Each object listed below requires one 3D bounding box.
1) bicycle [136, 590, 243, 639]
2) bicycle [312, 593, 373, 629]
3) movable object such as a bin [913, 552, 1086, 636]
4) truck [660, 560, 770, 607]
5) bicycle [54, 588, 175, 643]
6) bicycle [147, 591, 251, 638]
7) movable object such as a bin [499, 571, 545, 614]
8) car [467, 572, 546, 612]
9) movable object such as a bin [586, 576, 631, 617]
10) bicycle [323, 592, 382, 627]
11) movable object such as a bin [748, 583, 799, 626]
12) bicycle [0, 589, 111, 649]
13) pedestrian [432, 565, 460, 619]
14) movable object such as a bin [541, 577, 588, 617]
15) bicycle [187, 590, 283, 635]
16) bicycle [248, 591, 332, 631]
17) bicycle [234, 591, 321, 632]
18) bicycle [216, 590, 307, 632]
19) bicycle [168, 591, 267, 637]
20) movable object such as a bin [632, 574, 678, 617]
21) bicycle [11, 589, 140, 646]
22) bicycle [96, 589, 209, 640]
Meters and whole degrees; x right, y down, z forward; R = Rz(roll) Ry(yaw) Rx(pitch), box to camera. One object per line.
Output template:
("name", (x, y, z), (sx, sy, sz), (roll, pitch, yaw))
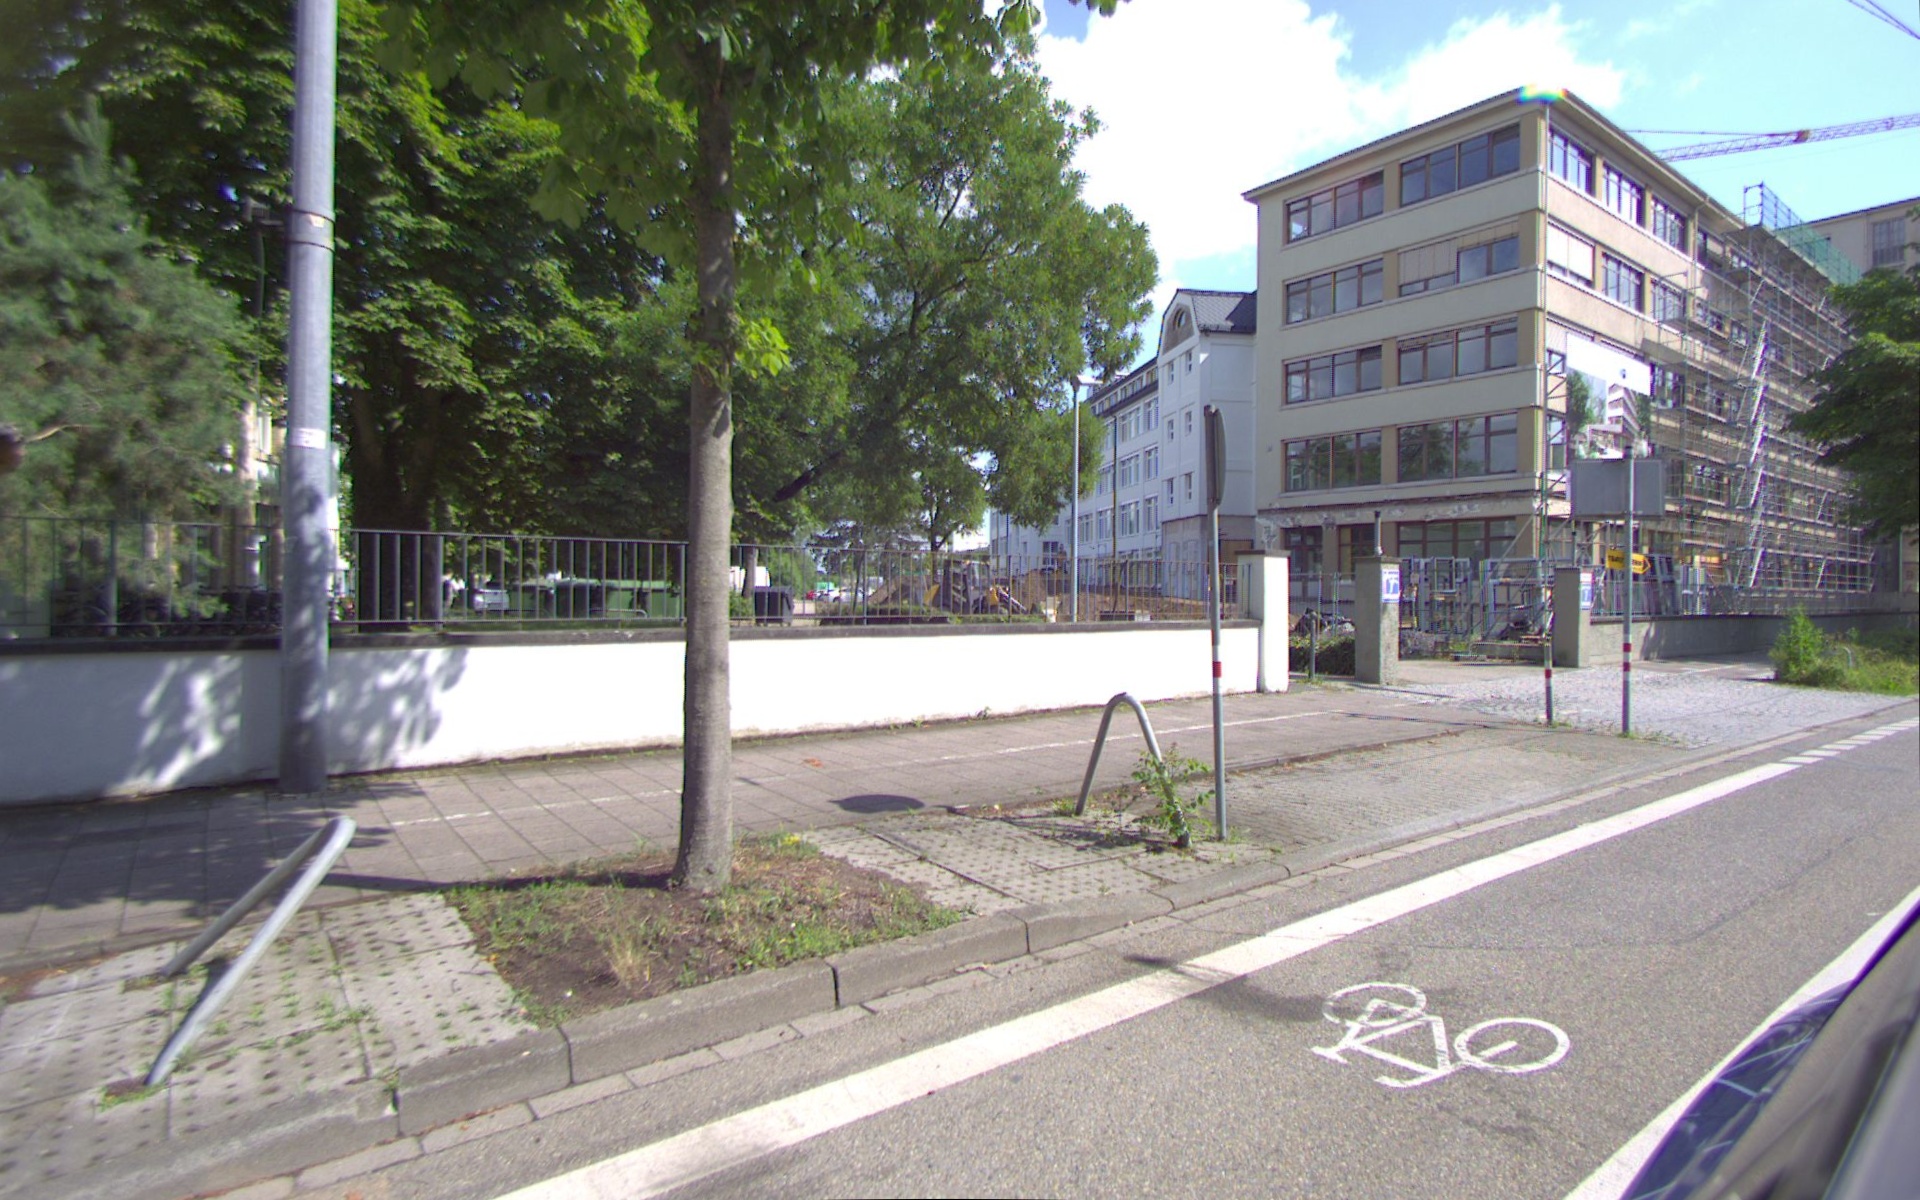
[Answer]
("bicycle", (-16.443, 0.308, 21.619), (1.783, 1.000, 0.428), (1, -1, -11))
("bicycle", (-17.917, 0.321, 29.399), (1.428, 1.000, 0.428), (1, -1, -9))
("movable object such as a bin", (1.232, -0.228, 33.201), (5.397, 2.474, 1.975), (3, 0, 34))
("truck", (-15.346, -0.982, 63.480), (6.421, 2.813, 2.004), (0, 0, -24))
("bicycle", (-16.186, 0.304, 19.398), (1.783, 1.000, 0.428), (1, -1, -11))
("bicycle", (-16.626, 0.320, 22.132), (1.783, 1.000, 0.428), (1, -1, -11))
("movable object such as a bin", (-13.973, -0.241, 32.331), (1.166, 1.309, 1.005), (1, 1, -13))
("car", (-18.003, -0.333, 40.449), (1.772, 1.516, 5.102), (0, 1, -11))
("movable object such as a bin", (-11.349, -0.119, 32.721), (1.230, 1.281, 1.002), (1, 1, -13))
("bicycle", (-17.981, 0.289, 29.972), (1.428, 1.000, 0.428), (1, -1, -11))
("movable object such as a bin", (-6.114, 0.138, 33.234), (1.302, 1.374, 1.127), (1, 1, 9))
("bicycle", (-15.768, 0.325, 17.413), (1.783, 1.000, 0.428), (1, -1, -11))
("pedestrian", (-15.733, -0.242, 30.999), (0.558, 1.644, 0.860), (0, 0, -13))
("movable object such as a bin", (-12.688, -0.095, 32.491), (1.247, 1.235, 1.031), (1, 1, -13))
("bicycle", (-16.894, 0.291, 23.595), (1.783, 1.000, 0.428), (1, -1, -11))
("bicycle", (-17.513, 0.297, 26.465), (1.783, 1.000, 0.428), (1, -1, -11))
("bicycle", (-17.349, 0.289, 25.760), (1.783, 1.000, 0.428), (1, -1, -11))
("bicycle", (-17.102, 0.273, 24.802), (1.783, 1.000, 0.428), (1, -1, -11))
("bicycle", (-16.757, 0.319, 22.869), (1.783, 1.000, 0.428), (1, -1, -11))
("movable object such as a bin", (-9.970, -0.146, 33.122), (1.338, 1.369, 1.096), (1, 1, -13))
("bicycle", (-16.208, 0.320, 18.572), (1.783, 1.000, 0.428), (1, -1, -11))
("bicycle", (-16.353, 0.293, 20.519), (1.783, 1.000, 0.428), (1, -1, -11))
